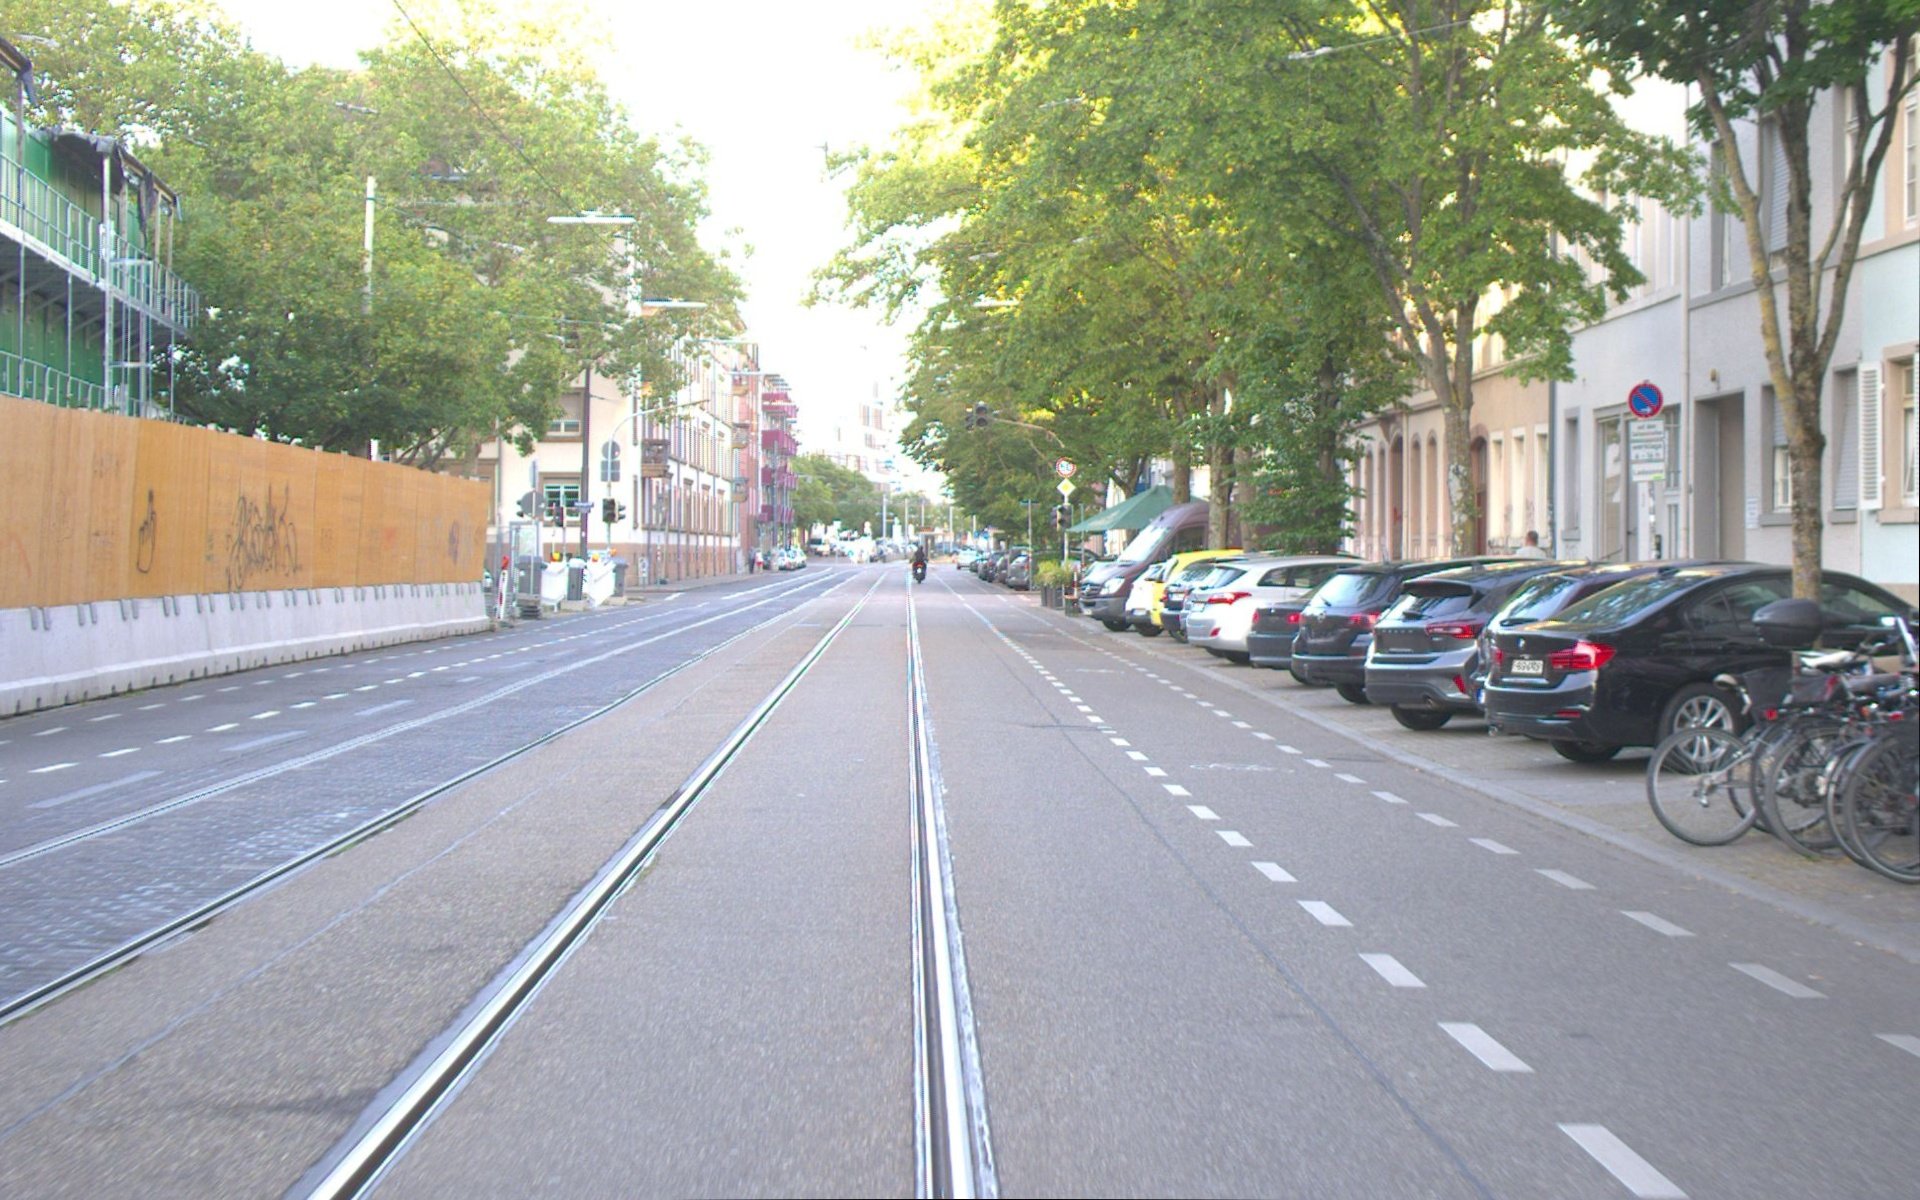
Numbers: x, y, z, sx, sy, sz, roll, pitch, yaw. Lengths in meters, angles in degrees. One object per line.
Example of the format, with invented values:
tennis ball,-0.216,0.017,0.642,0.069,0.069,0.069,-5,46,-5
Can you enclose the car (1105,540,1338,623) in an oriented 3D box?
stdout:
car,4.963,-0.351,65.345,3.950,1.481,1.921,-2,0,-24

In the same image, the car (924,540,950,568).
car,-1.704,-3.438,257.210,1.898,2.007,4.000,1,1,-1

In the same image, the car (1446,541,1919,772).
car,5.893,0.363,25.305,4.160,1.421,1.824,-3,2,-19

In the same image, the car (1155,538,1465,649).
car,5.298,-0.112,52.079,4.249,1.555,1.898,-2,0,-23

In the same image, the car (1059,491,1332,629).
car,4.783,-0.828,70.028,5.093,2.633,2.022,-2,1,-17

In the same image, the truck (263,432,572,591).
truck,-13.048,-2.136,83.147,7.056,3.468,2.542,2,1,-4

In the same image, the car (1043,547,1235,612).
car,4.326,-0.493,83.266,4.174,1.493,2.009,-1,0,-25

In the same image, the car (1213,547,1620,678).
car,5.309,0.120,40.041,4.249,1.387,2.016,-2,1,-24

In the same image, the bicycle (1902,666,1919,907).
bicycle,5.045,0.763,14.579,1.886,1.028,0.608,-3,1,-2

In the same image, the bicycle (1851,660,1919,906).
bicycle,4.998,0.760,15.249,1.886,1.028,0.608,-3,1,-2

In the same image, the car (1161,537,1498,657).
car,5.149,-0.063,48.121,4.249,1.543,2.020,-1,1,-11

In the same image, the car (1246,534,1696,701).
car,5.283,0.154,35.538,4.115,1.465,2.016,-3,2,-25

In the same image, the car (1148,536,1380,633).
car,5.424,-0.286,61.629,3.950,1.614,1.921,-1,0,0

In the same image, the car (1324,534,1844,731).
car,5.499,0.248,30.337,4.115,1.465,1.824,-3,2,-21

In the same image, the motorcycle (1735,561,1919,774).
motorcycle,6.054,0.424,22.560,1.786,1.339,0.533,-2,1,-2

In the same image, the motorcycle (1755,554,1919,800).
motorcycle,6.168,0.441,21.274,2.222,1.456,0.968,-2,1,-2

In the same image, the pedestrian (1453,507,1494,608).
pedestrian,8.066,-0.668,53.988,0.538,1.563,0.813,0,1,2

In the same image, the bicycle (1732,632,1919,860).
bicycle,4.950,0.703,17.394,1.886,1.064,0.674,-3,1,-2

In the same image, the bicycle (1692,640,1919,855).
bicycle,4.869,0.749,18.077,1.863,1.028,0.591,-3,1,-3

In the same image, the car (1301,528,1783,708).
car,5.601,0.139,33.085,4.115,1.465,1.987,-3,2,-25

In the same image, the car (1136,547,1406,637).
car,5.265,-0.143,58.240,4.120,1.420,1.921,-2,0,-26

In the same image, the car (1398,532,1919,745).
car,5.816,0.275,27.969,3.948,1.465,2.002,-3,1,-17

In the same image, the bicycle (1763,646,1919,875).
bicycle,4.929,0.741,16.665,1.886,1.028,0.608,-3,1,-2

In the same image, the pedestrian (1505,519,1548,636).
pedestrian,8.834,-0.357,53.640,0.565,1.808,0.607,0,1,1

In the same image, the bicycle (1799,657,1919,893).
bicycle,4.951,0.771,16.021,1.886,1.028,0.608,-3,1,-2

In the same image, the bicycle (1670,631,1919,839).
bicycle,4.888,0.710,18.674,1.903,1.028,0.533,-3,1,-2
